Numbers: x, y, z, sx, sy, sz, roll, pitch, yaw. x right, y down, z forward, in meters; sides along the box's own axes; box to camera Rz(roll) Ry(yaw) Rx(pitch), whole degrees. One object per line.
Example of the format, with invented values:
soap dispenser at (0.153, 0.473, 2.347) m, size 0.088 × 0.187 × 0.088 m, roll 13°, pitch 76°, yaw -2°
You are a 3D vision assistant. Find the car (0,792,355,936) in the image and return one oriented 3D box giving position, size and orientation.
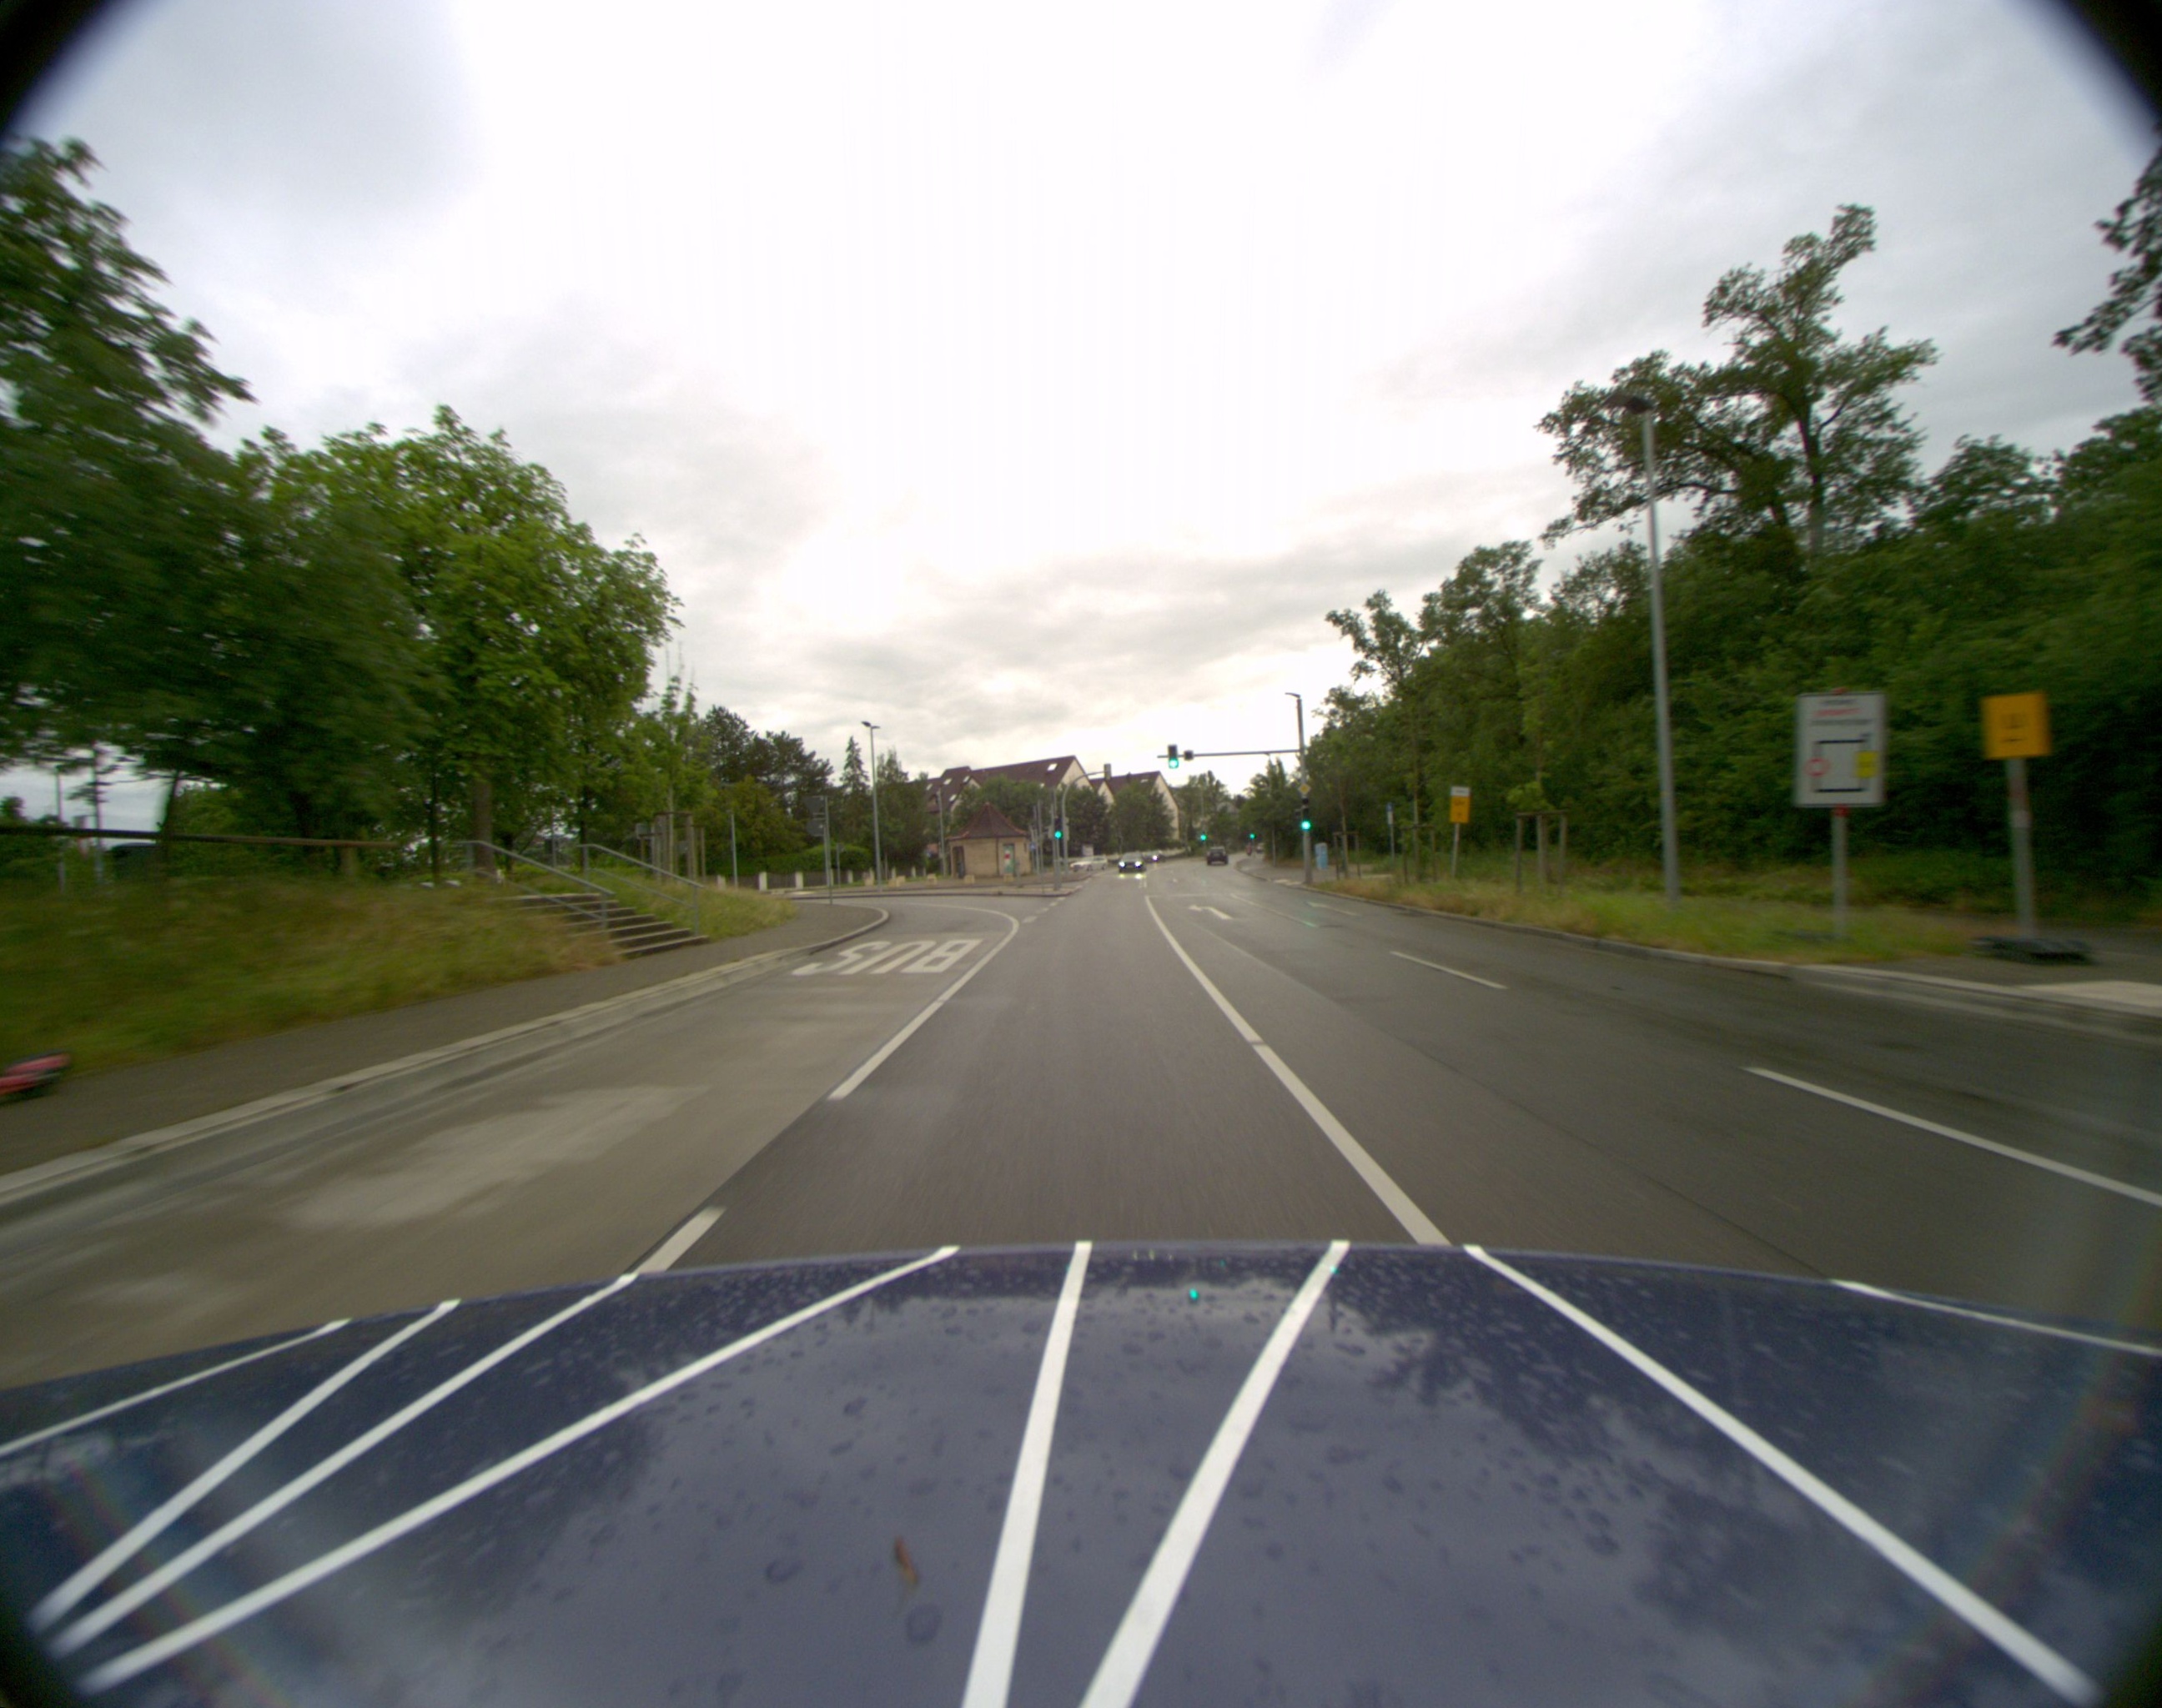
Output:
car at (-13.466, 0.171, 10.853) m, size 1.998 × 1.652 × 4.002 m, roll -5°, pitch 0°, yaw 7°

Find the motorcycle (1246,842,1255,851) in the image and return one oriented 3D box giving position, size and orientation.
motorcycle at (21.165, -0.938, 94.998) m, size 0.594 × 1.044 × 2.002 m, roll -3°, pitch 0°, yaw 25°

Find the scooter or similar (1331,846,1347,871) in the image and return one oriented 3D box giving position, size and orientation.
scooter or similar at (12.981, 0.202, 38.276) m, size 0.518 × 1.205 × 1.470 m, roll -3°, pitch 1°, yaw 10°

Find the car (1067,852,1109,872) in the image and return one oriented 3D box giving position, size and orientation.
car at (0.691, 0.699, 67.196) m, size 1.942 × 1.594 × 4.611 m, roll -2°, pitch 1°, yaw 25°

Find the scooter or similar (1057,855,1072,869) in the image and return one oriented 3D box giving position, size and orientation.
scooter or similar at (-1.654, 0.819, 77.666) m, size 1.350 × 1.200 × 0.525 m, roll -6°, pitch 1°, yaw 19°

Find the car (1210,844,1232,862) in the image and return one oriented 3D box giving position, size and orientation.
car at (12.843, -0.098, 69.551) m, size 1.792 × 1.572 × 4.565 m, roll -2°, pitch 0°, yaw 12°

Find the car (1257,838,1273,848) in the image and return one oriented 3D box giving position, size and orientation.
car at (25.638, -1.570, 105.795) m, size 1.743 × 1.344 × 4.214 m, roll -1°, pitch 1°, yaw 18°

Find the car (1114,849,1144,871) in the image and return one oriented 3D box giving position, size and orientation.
car at (3.568, 0.418, 57.310) m, size 1.945 × 1.446 × 4.603 m, roll -2°, pitch 1°, yaw 0°

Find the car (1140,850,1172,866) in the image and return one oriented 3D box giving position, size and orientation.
car at (8.102, 0.407, 81.737) m, size 1.942 × 1.594 × 4.611 m, roll -2°, pitch 1°, yaw 25°

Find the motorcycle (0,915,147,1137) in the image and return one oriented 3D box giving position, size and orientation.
motorcycle at (-6.867, 1.077, 4.490) m, size 0.589 × 1.281 × 1.539 m, roll -2°, pitch 1°, yaw 17°

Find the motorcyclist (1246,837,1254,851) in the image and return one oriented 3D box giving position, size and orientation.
motorcyclist at (21.121, -1.236, 94.904) m, size 0.746 × 1.623 × 0.928 m, roll -1°, pitch 1°, yaw 26°
